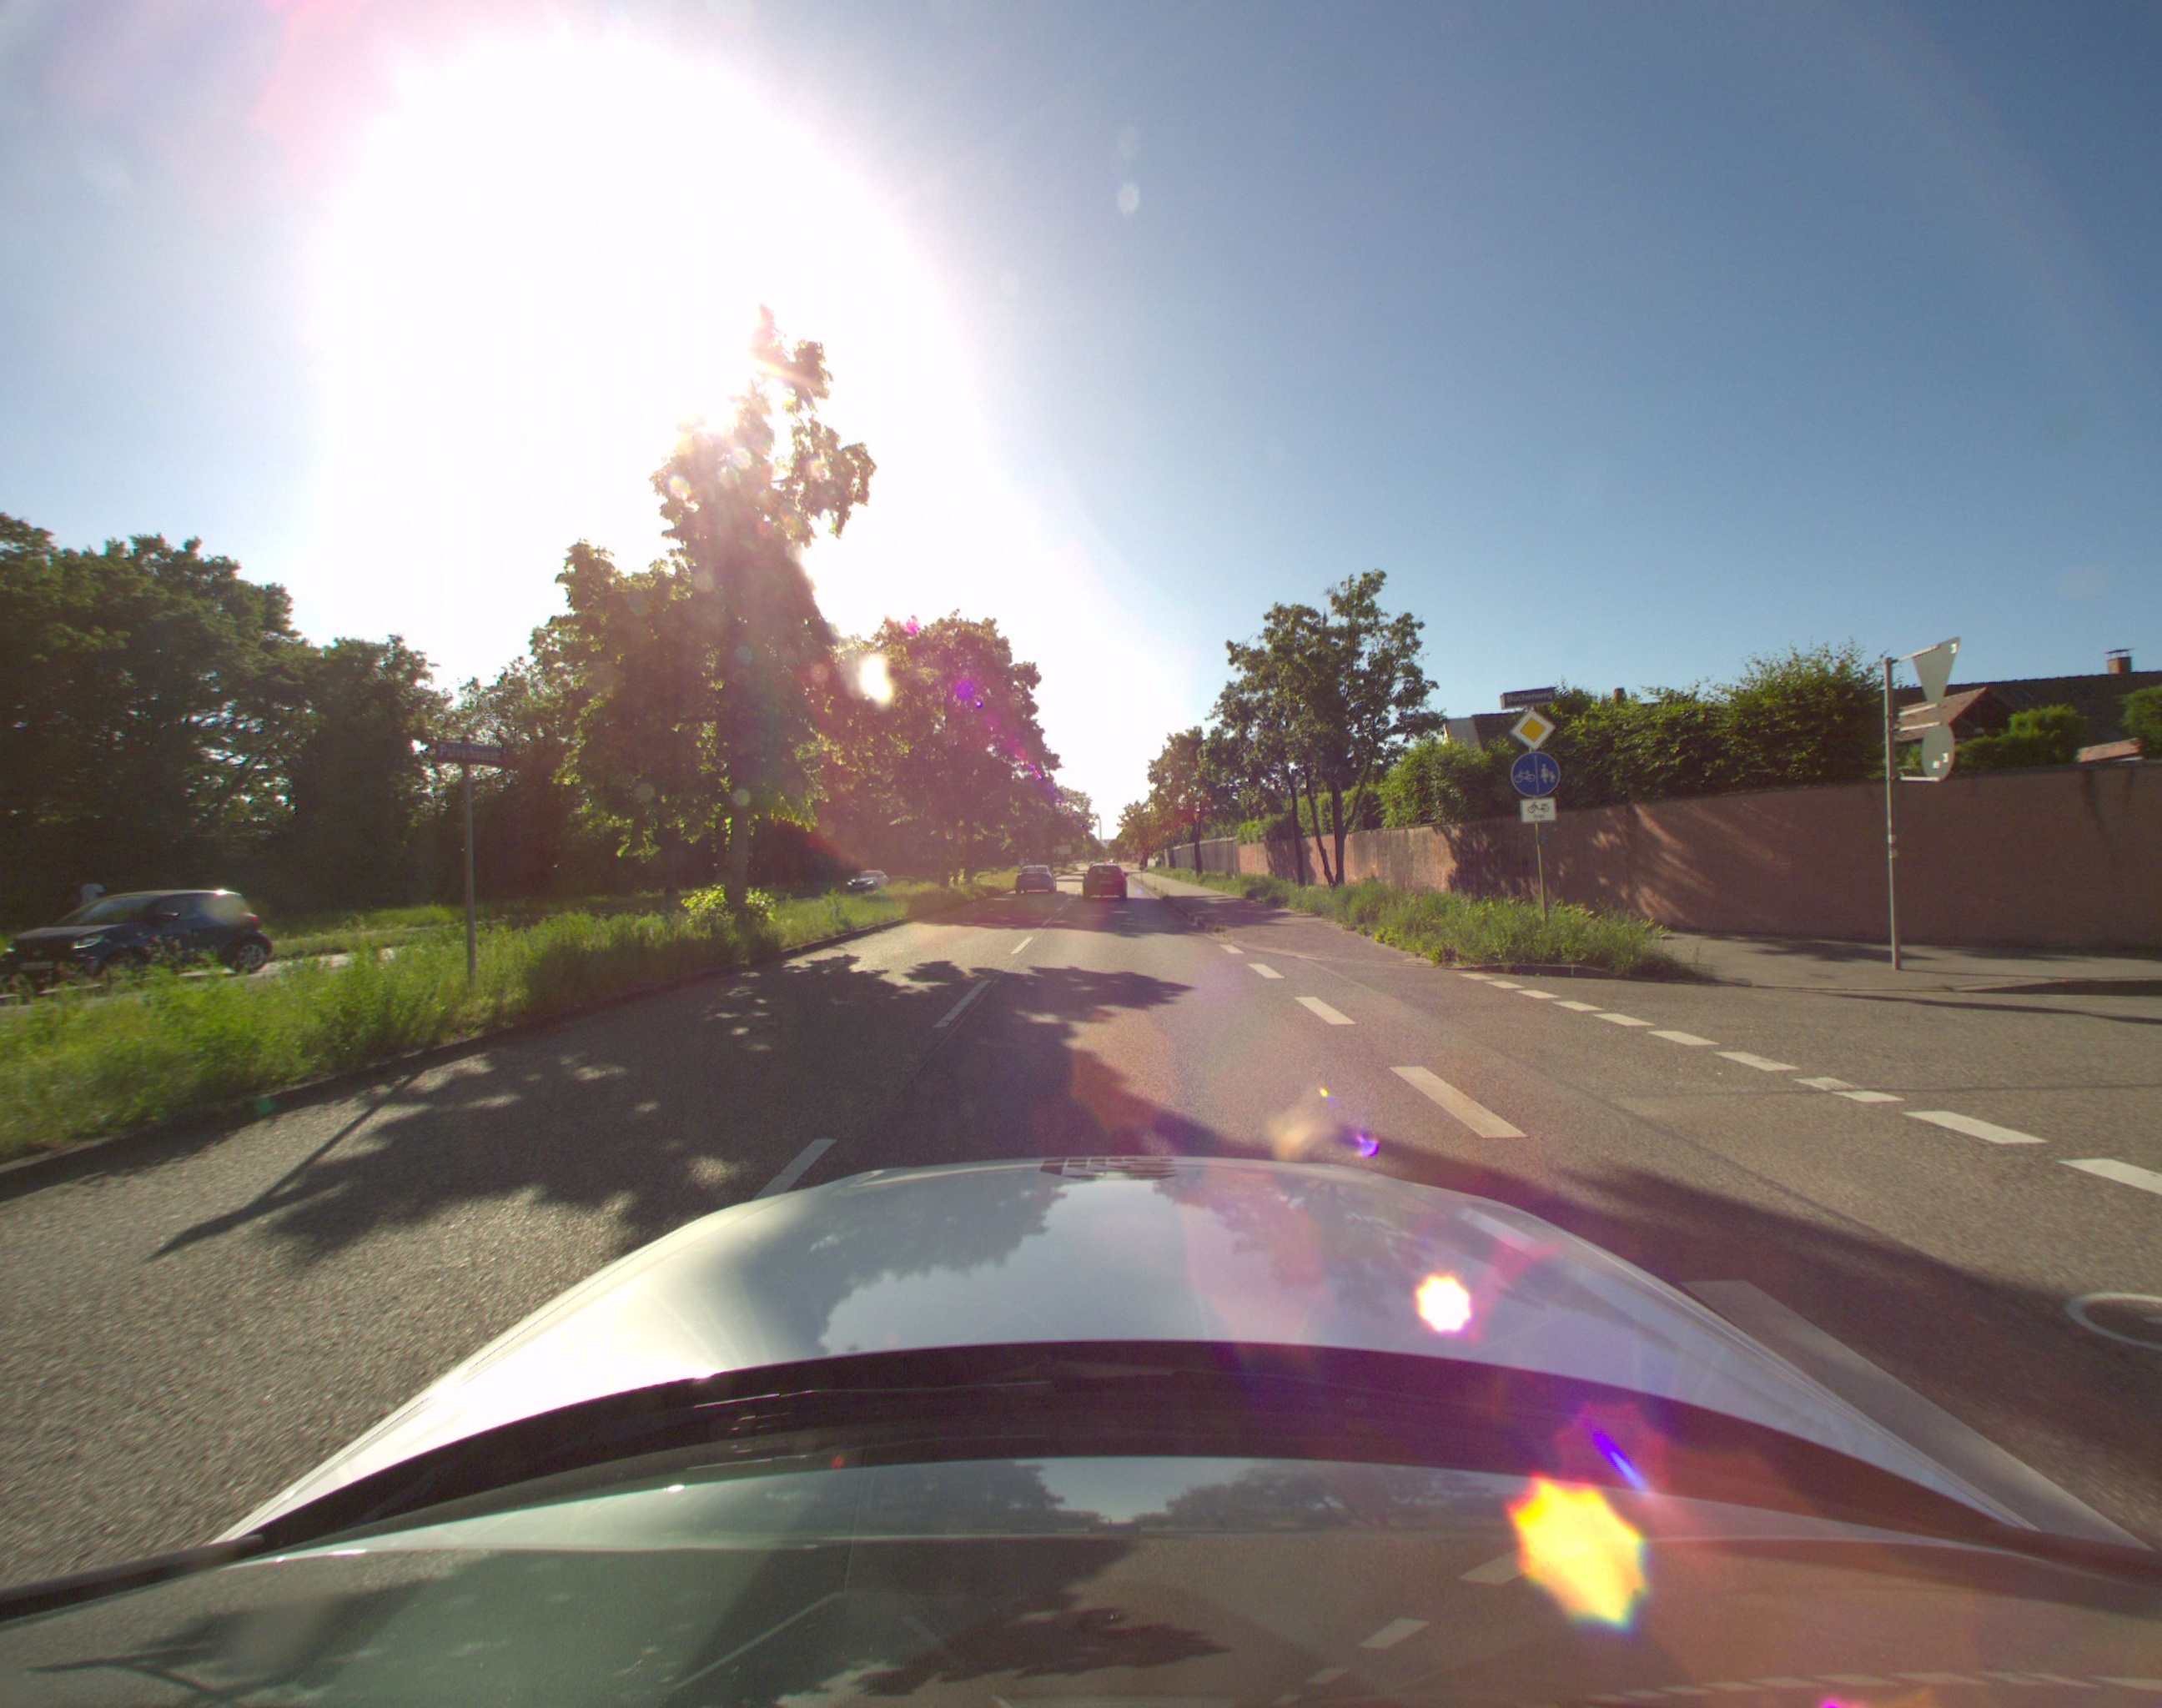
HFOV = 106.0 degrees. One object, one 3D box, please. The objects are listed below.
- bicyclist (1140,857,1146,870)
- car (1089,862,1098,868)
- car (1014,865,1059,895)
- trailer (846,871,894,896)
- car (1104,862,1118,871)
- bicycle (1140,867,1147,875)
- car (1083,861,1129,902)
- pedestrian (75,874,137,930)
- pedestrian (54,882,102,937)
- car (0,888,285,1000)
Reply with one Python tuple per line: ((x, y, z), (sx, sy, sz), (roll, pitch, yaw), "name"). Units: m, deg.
((7.242, 1.103, 94.723), (0.678, 1.419, 0.812), (-1, -1, 1), "bicyclist")
((2.875, 2.609, 191.460), (1.973, 1.440, 3.997), (-1, 0, -2), "car")
((-2.240, 1.284, 41.818), (1.988, 1.405, 4.000), (-1, -1, 0), "car")
((-13.724, 1.907, 53.166), (1.734, 1.424, 4.498), (-3, -1, 2), "trailer")
((4.737, 1.962, 128.893), (1.971, 1.440, 4.000), (-1, 0, 1), "car")
((7.254, 2.006, 94.666), (0.653, 0.892, 1.875), (-1, -1, 2), "bicycle")
((1.062, 1.098, 33.352), (1.753, 1.559, 4.003), (0, -1, 3), "car")
((-26.328, 1.290, 21.997), (0.542, 1.460, 0.917), (-1, -1, 2), "pedestrian")
((-27.140, 1.495, 22.046), (0.542, 1.460, 0.596), (-1, -1, 1), "pedestrian")
((-15.793, 1.423, 13.731), (1.709, 1.505, 3.015), (-4, -1, 0), "car")
